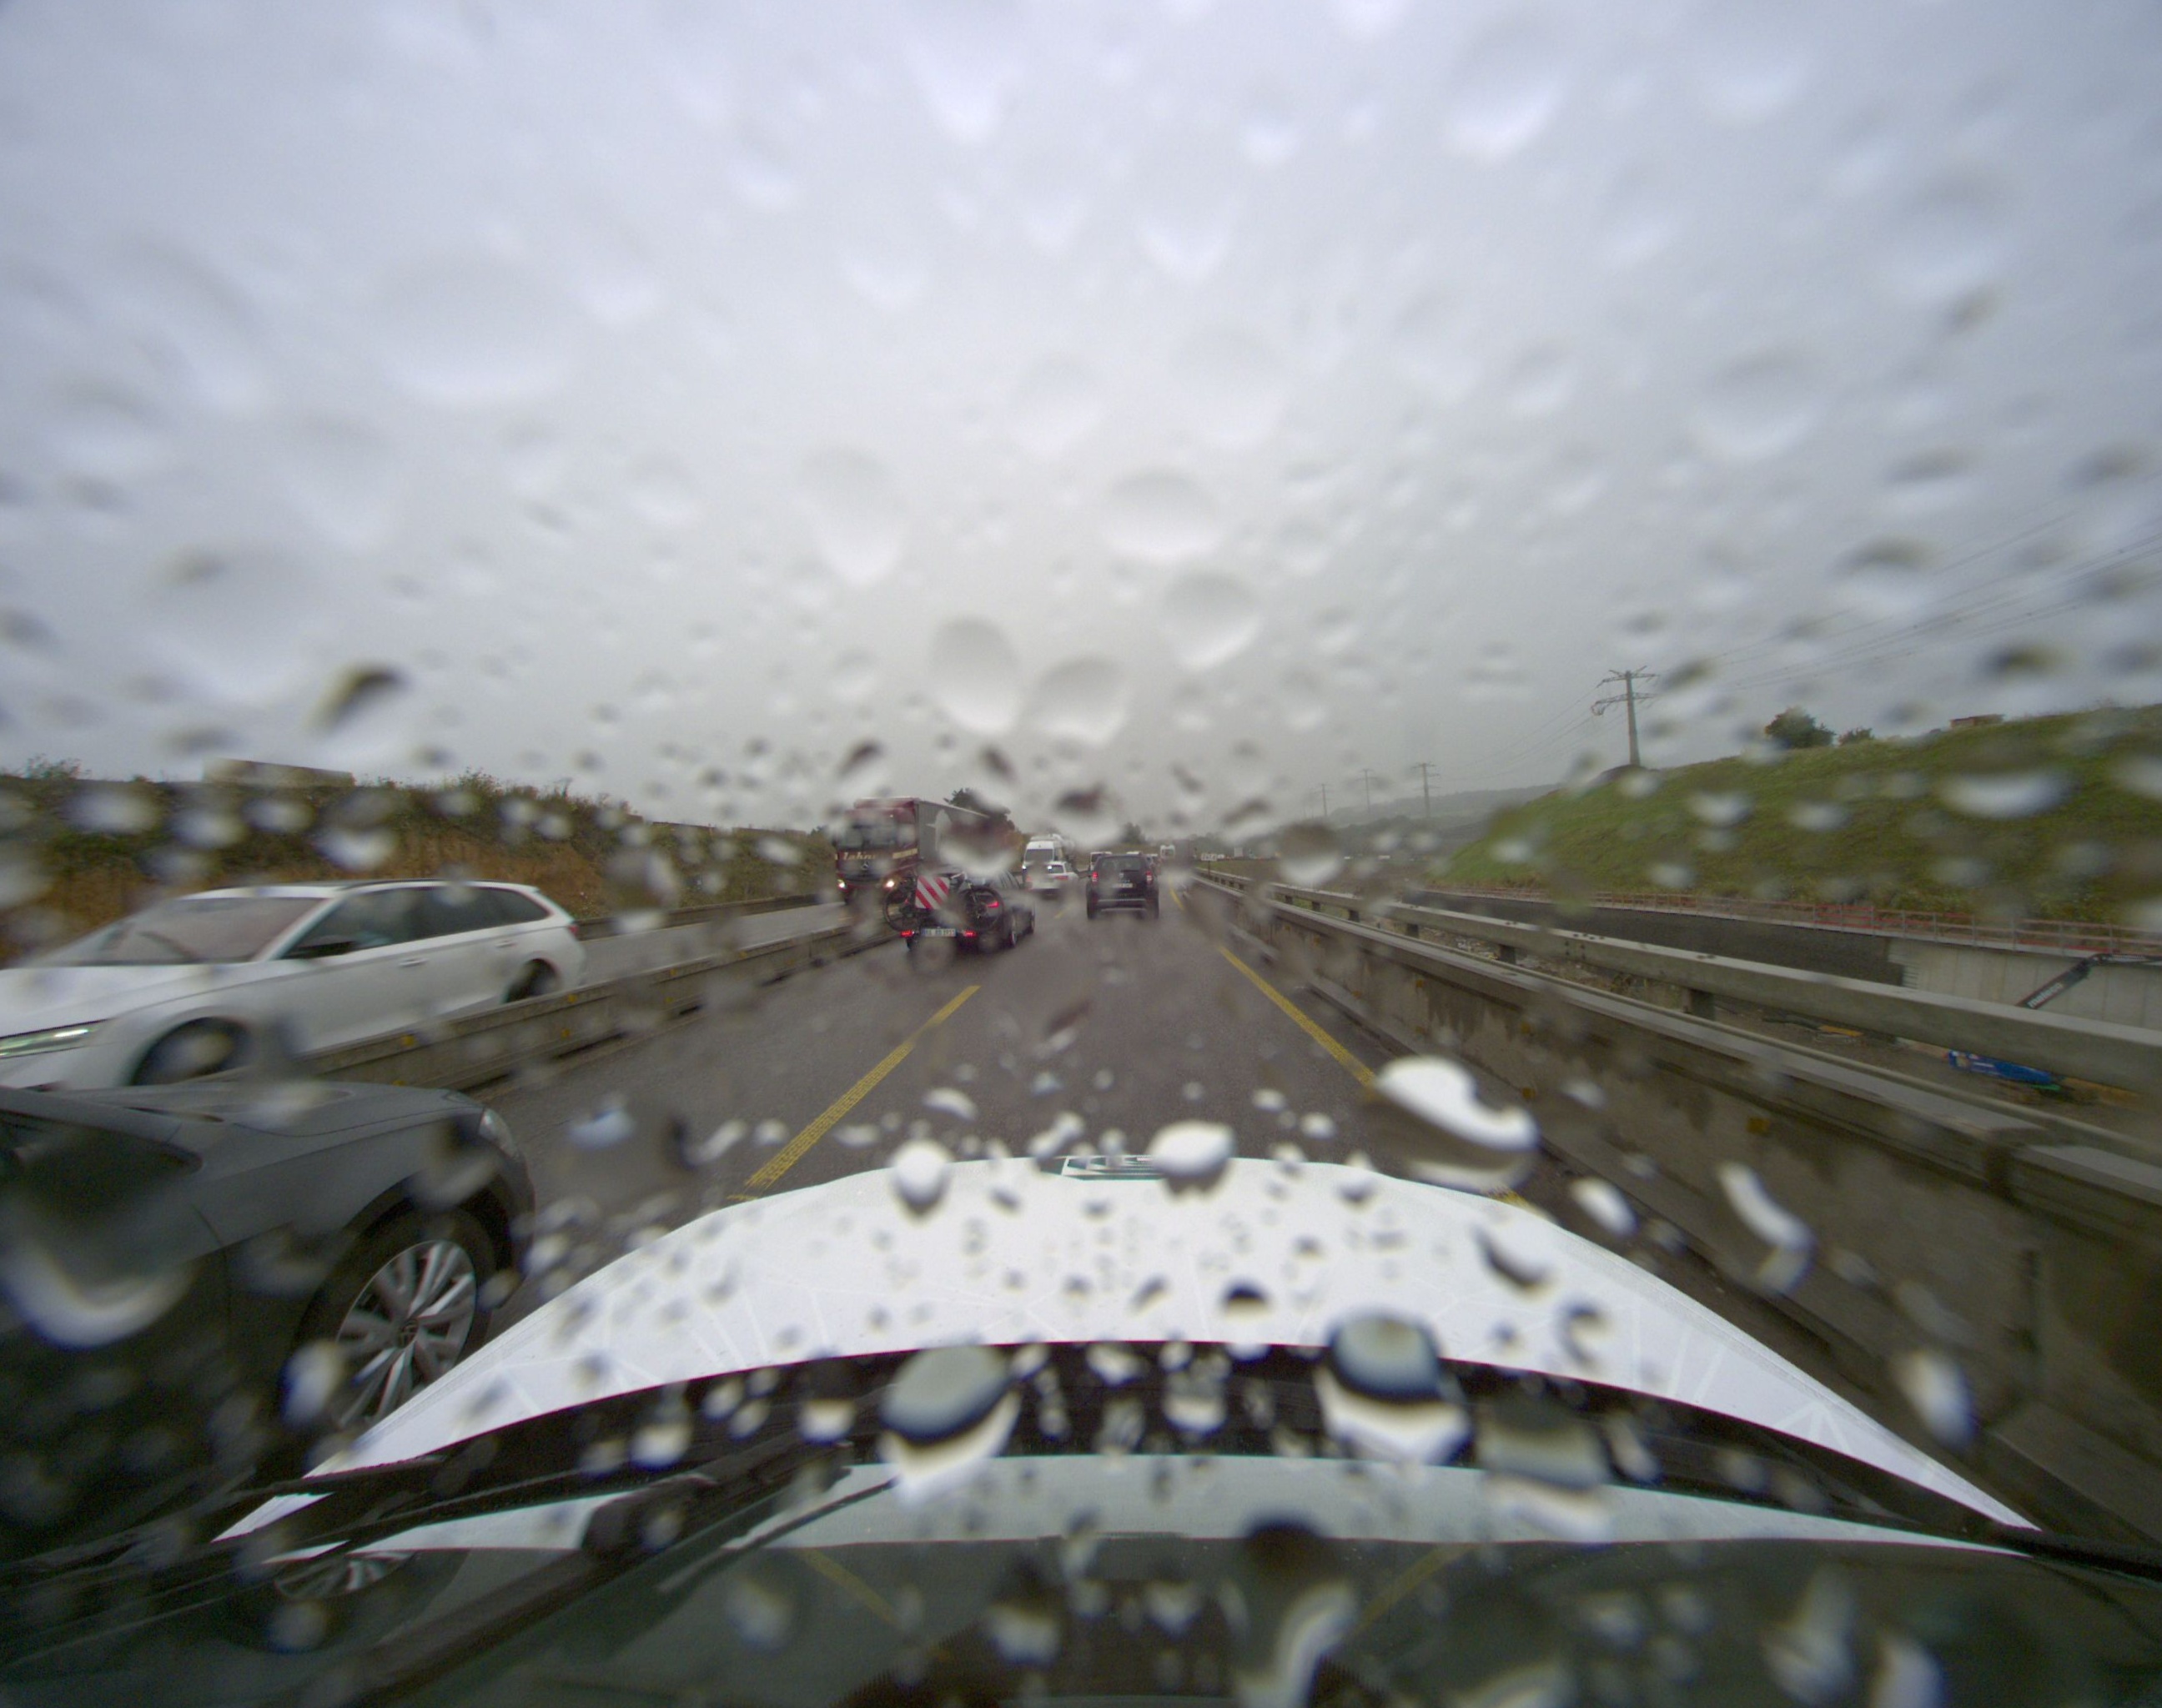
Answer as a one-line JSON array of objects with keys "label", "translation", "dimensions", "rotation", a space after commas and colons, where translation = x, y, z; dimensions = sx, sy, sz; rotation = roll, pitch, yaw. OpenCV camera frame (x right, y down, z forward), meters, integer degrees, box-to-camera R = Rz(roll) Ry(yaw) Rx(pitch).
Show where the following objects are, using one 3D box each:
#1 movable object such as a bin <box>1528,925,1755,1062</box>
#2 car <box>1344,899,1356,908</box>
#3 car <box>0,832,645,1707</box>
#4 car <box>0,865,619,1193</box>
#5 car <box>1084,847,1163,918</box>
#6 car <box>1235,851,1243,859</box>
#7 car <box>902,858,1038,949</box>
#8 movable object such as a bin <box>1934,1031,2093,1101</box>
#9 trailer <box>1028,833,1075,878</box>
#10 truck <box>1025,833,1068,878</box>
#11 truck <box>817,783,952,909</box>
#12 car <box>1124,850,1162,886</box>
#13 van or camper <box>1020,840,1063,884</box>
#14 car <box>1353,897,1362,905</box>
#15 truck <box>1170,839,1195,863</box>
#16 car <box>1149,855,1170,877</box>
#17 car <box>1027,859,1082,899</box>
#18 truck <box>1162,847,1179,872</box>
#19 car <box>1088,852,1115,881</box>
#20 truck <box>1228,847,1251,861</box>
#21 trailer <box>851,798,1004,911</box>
[{"label": "movable object such as a bin", "translation": [29.173, 6.945, 43.666], "dimensions": [4.868, 5.671, 12.110], "rotation": [0, -3, 7]}, {"label": "car", "translation": [65.666, 12.075, 198.715], "dimensions": [2.349, 2.014, 4.014], "rotation": [-1, 0, 12]}, {"label": "car", "translation": [-2.568, 0.758, 0.838], "dimensions": [1.607, 1.506, 4.372], "rotation": [-3, -1, 3]}, {"label": "car", "translation": [-5.770, 0.863, 6.168], "dimensions": [1.737, 1.502, 4.637], "rotation": [-1, 0, 2]}, {"label": "car", "translation": [1.187, 0.703, 21.265], "dimensions": [1.795, 1.646, 3.783], "rotation": [-2, -1, 6]}, {"label": "car", "translation": [42.278, 0.266, 217.314], "dimensions": [1.761, 1.916, 4.017], "rotation": [-1, 0, 16]}, {"label": "car", "translation": [-1.972, 0.856, 15.564], "dimensions": [1.821, 1.476, 3.779], "rotation": [-2, -1, 3]}, {"label": "movable object such as a bin", "translation": [36.426, 8.252, 31.953], "dimensions": [2.507, 1.911, 3.257], "rotation": [0, -1, 1]}, {"label": "trailer", "translation": [-2.736, 0.179, 80.363], "dimensions": [3.240, 3.964, 11.550], "rotation": [-2, -1, 5]}, {"label": "truck", "translation": [-3.135, 0.152, 75.156], "dimensions": [3.217, 3.955, 5.887], "rotation": [-2, -1, 4]}, {"label": "truck", "translation": [-7.738, -0.297, 33.168], "dimensions": [2.965, 4.409, 6.943], "rotation": [-3, 0, 6]}, {"label": "car", "translation": [3.187, 0.706, 42.080], "dimensions": [1.859, 1.708, 4.004], "rotation": [-1, 0, 3]}, {"label": "van or camper", "translation": [-2.451, 0.480, 51.700], "dimensions": [2.270, 2.614, 5.829], "rotation": [-1, 0, 1]}, {"label": "car", "translation": [73.107, 12.327, 215.092], "dimensions": [1.979, 1.816, 4.016], "rotation": [-2, -1, 15]}, {"label": "truck", "translation": [16.622, -0.418, 132.978], "dimensions": [3.179, 3.761, 8.537], "rotation": [-1, 0, 12]}, {"label": "car", "translation": [5.982, 0.904, 61.939], "dimensions": [1.523, 1.640, 4.019], "rotation": [-1, 0, 6]}, {"label": "car", "translation": [-0.984, 0.944, 32.337], "dimensions": [1.860, 1.460, 4.551], "rotation": [-1, 0, 2]}, {"label": "truck", "translation": [11.714, 0.768, 106.881], "dimensions": [2.138, 3.166, 6.470], "rotation": [-1, 0, 6]}, {"label": "car", "translation": [1.469, 0.855, 57.038], "dimensions": [1.653, 1.880, 4.023], "rotation": [-1, 0, 3]}, {"label": "truck", "translation": [47.354, 0.006, 242.903], "dimensions": [4.679, 4.150, 15.757], "rotation": [-1, 0, 19]}, {"label": "trailer", "translation": [-6.969, -0.003, 40.816], "dimensions": [2.980, 4.421, 15.727], "rotation": [-3, 0, 6]}]
